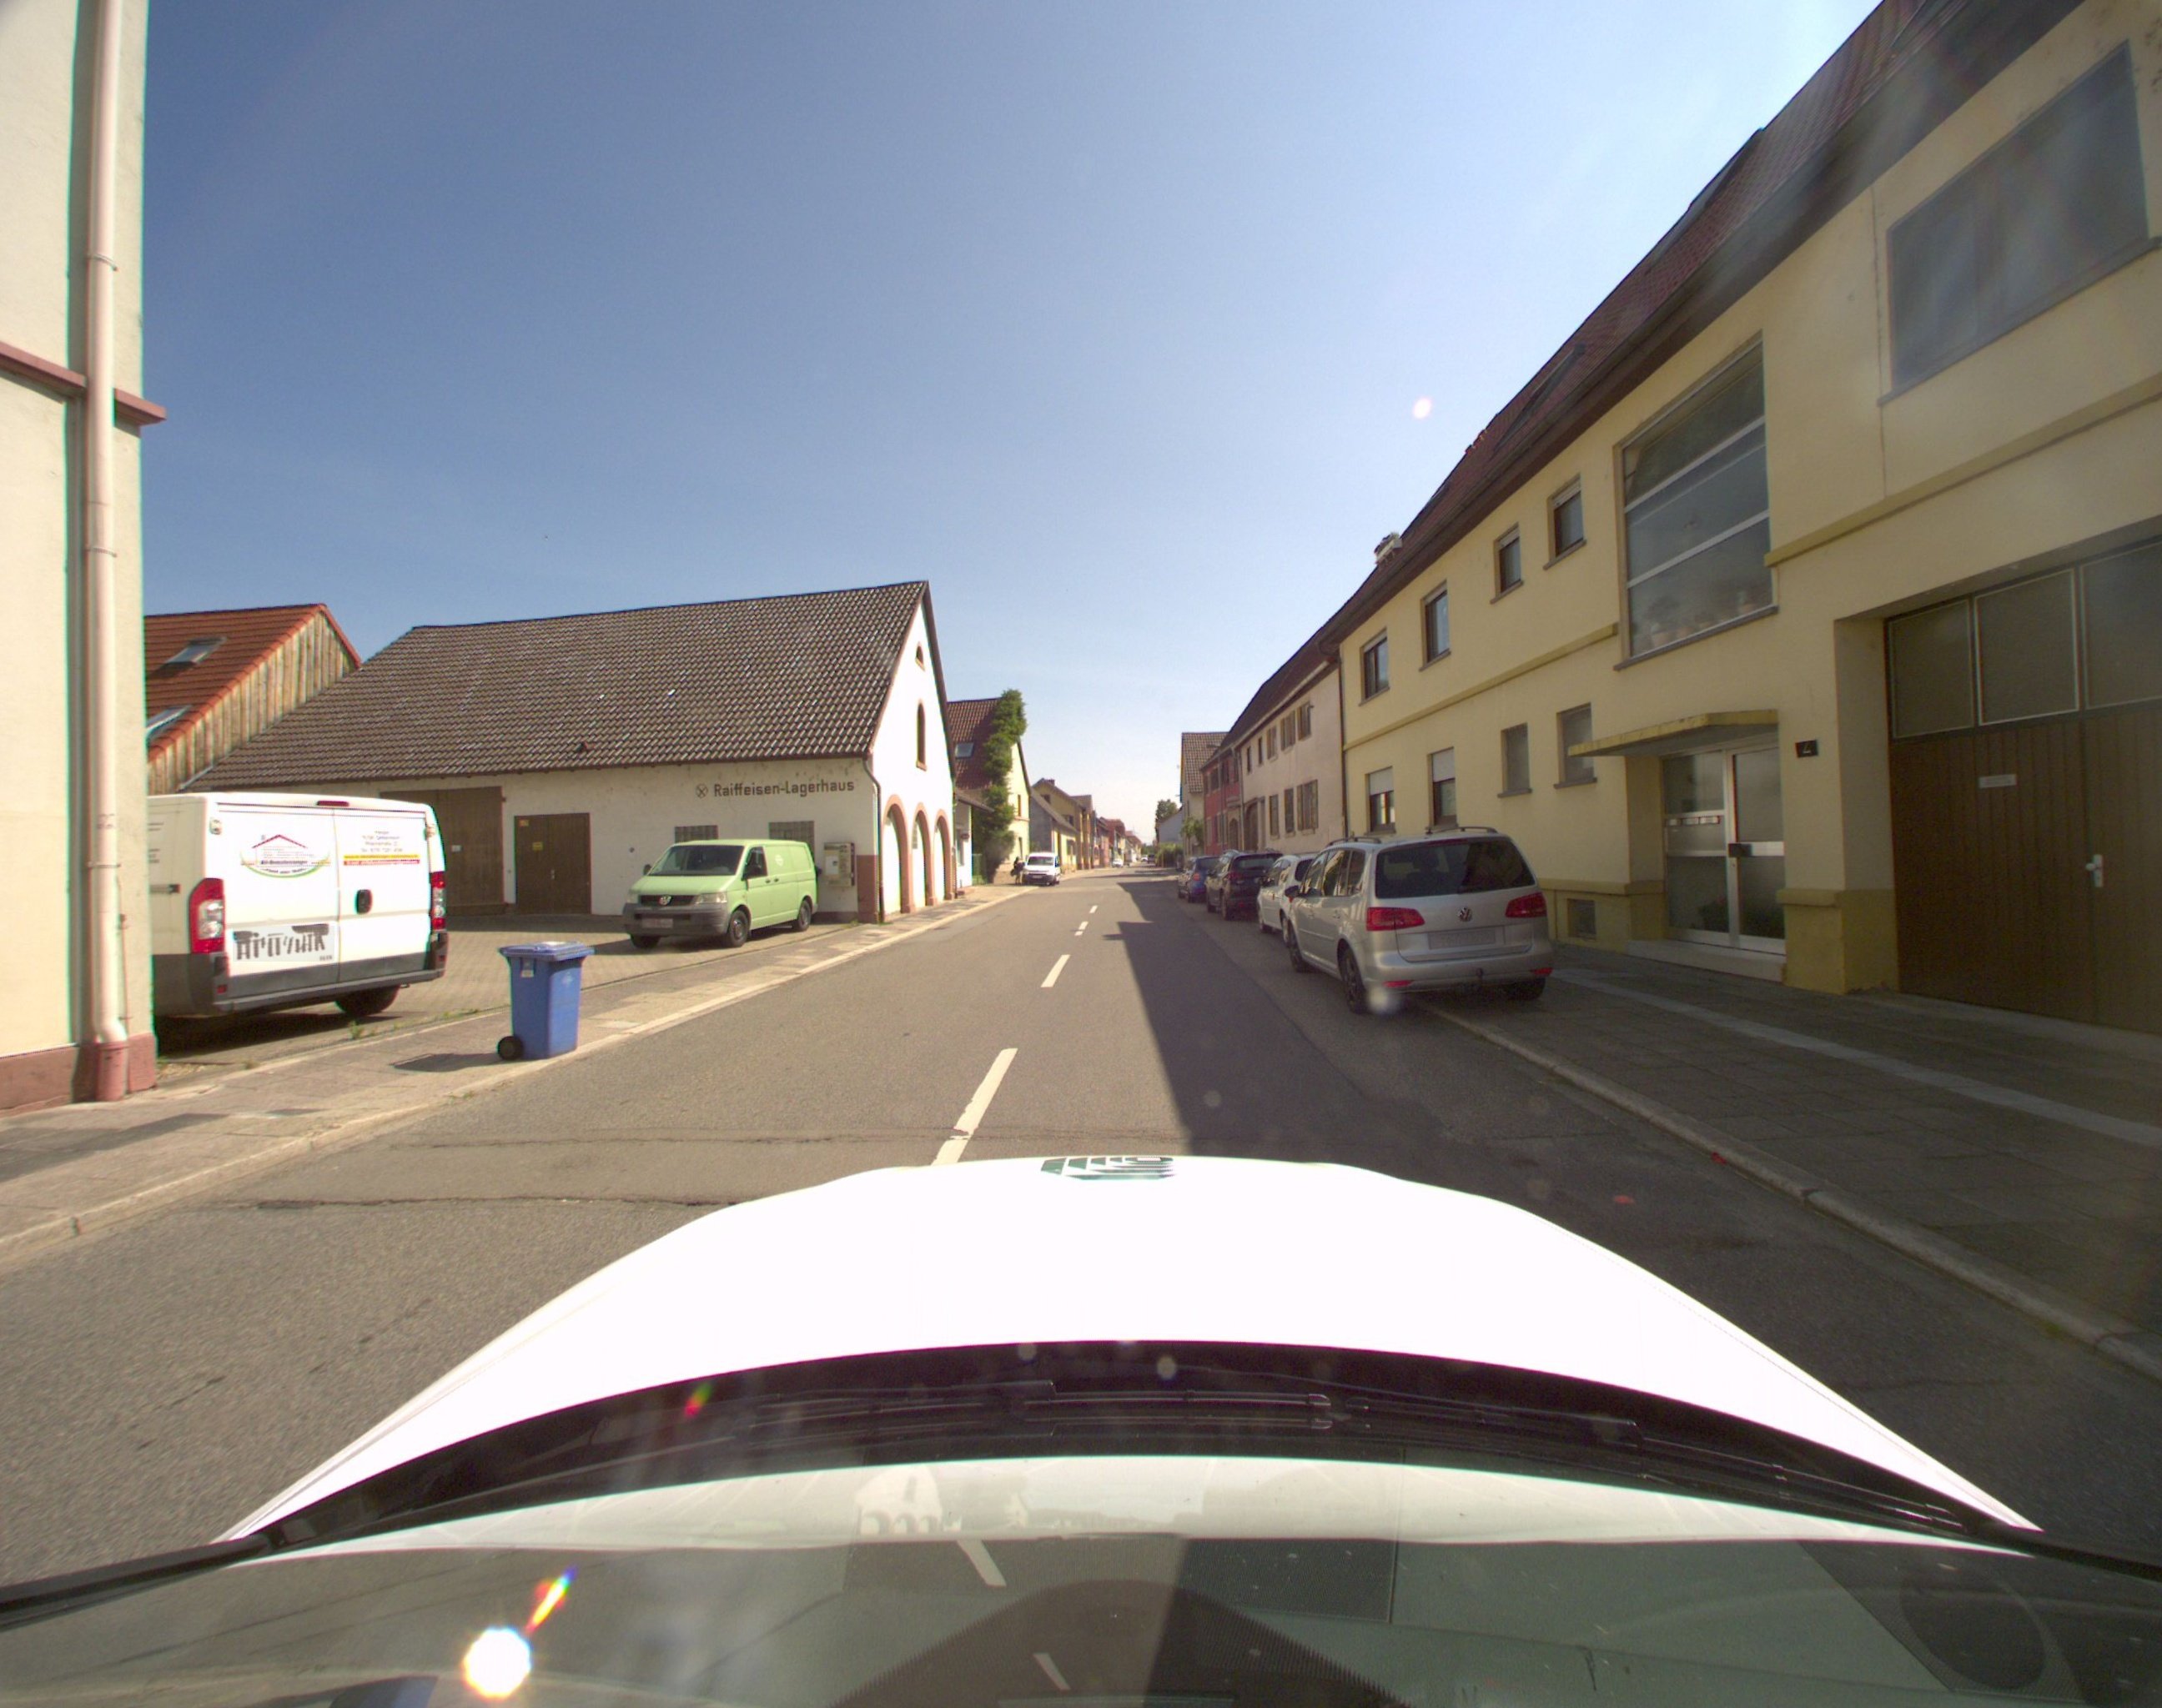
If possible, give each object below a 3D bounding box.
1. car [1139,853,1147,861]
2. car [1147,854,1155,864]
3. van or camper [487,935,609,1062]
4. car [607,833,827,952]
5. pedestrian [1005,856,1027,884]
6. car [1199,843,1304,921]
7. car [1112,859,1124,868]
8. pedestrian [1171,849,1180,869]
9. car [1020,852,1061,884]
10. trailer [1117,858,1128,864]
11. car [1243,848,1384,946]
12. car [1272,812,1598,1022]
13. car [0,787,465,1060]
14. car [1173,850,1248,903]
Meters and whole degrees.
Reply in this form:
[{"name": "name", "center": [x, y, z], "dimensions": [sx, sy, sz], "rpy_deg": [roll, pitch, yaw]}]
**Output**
[{"name": "car", "center": [18.494, 0.851, 243.069], "dimensions": [2.149, 2.080, 4.003], "rpy_deg": [-2, -2, 3]}, {"name": "car", "center": [17.355, 1.226, 201.821], "dimensions": [2.008, 2.568, 4.004], "rpy_deg": [-2, -1, 4]}, {"name": "van or camper", "center": [-4.448, 1.188, 6.826], "dimensions": [0.586, 0.951, 0.601], "rpy_deg": [-1, 0, 8]}, {"name": "car", "center": [-6.915, 0.662, 16.174], "dimensions": [1.985, 1.964, 4.674], "rpy_deg": [-1, 0, 4]}, {"name": "pedestrian", "center": [-3.620, 0.871, 45.379], "dimensions": [1.132, 1.552, 1.017], "rpy_deg": [-1, -1, 1]}, {"name": "car", "center": [3.934, 0.617, 19.455], "dimensions": [1.693, 1.584, 4.028], "rpy_deg": [-3, 0, 1]}, {"name": "car", "center": [6.314, 1.648, 139.338], "dimensions": [1.984, 1.442, 4.004], "rpy_deg": [-2, -1, 4]}, {"name": "pedestrian", "center": [8.049, 0.441, 69.664], "dimensions": [0.715, 1.664, 0.894], "rpy_deg": [-1, -1, 7]}, {"name": "car", "center": [-2.195, 0.749, 44.957], "dimensions": [1.848, 1.647, 4.431], "rpy_deg": [-1, 0, 2]}, {"name": "trailer", "center": [8.001, 1.332, 156.078], "dimensions": [1.985, 1.090, 4.003], "rpy_deg": [-1, 0, 3]}, {"name": "car", "center": [3.958, 0.670, 14.416], "dimensions": [1.544, 1.438, 3.723], "rpy_deg": [-3, 0, 3]}, {"name": "car", "center": [3.449, 0.540, 8.940], "dimensions": [1.890, 1.728, 4.252], "rpy_deg": [-1, 0, 3]}, {"name": "car", "center": [-9.294, 0.594, 8.130], "dimensions": [5.141, 2.197, 2.130], "rpy_deg": [-1, 0, 12]}, {"name": "car", "center": [4.050, 0.680, 26.078], "dimensions": [1.693, 1.469, 4.410], "rpy_deg": [-3, 0, 1]}]
